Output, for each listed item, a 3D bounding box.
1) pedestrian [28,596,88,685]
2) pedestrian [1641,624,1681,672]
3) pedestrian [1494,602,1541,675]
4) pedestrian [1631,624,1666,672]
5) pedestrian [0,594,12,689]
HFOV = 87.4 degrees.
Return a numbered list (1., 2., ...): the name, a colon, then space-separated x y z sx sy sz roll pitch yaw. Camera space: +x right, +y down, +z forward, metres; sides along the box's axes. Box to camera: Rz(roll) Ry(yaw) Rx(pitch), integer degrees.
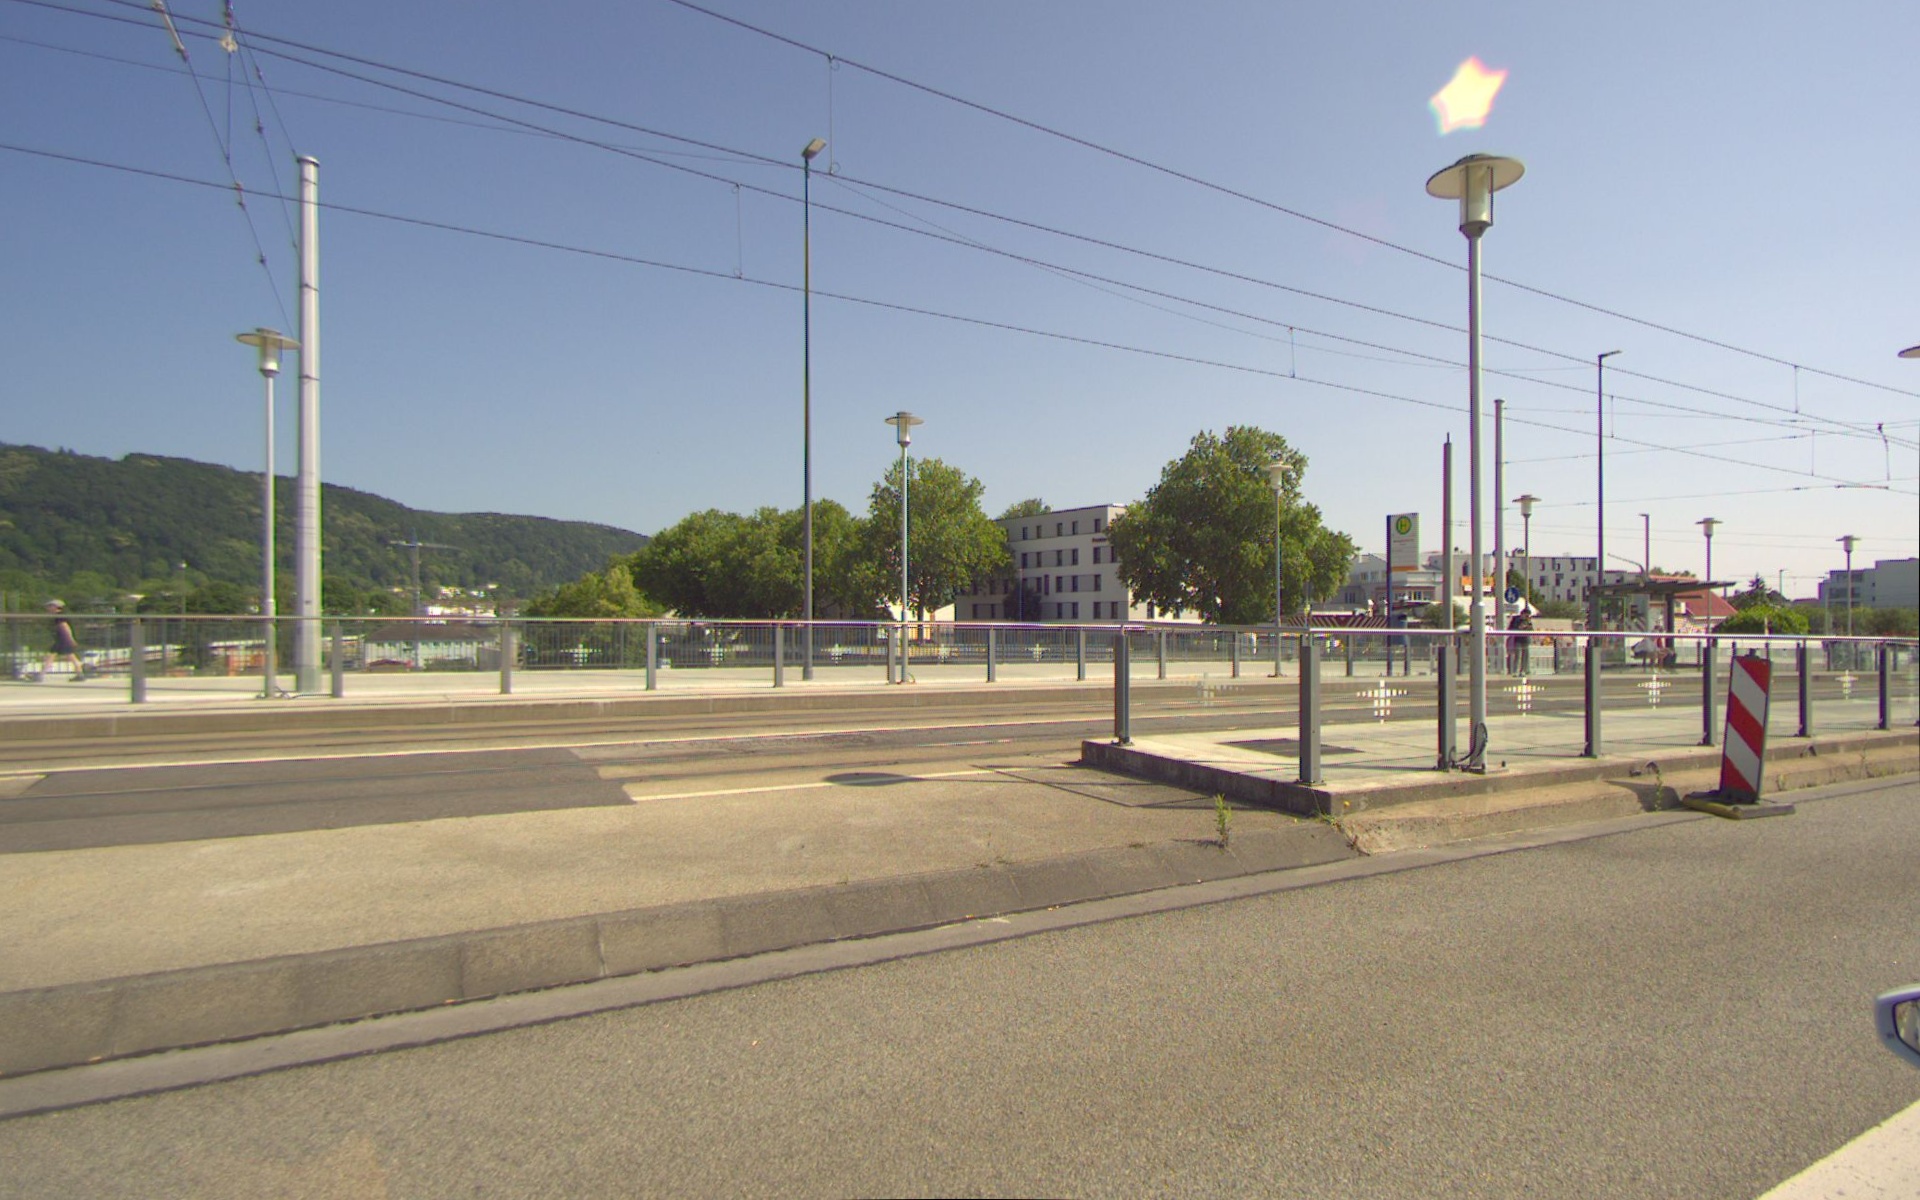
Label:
1. pedestrian: -17.670 0.790 19.682 0.763 1.709 0.501 0 -1 -29
2. pedestrian: 19.351 1.308 27.739 0.688 1.291 0.646 1 -1 -26
3. pedestrian: 13.058 0.891 23.526 0.727 1.676 0.660 0 -1 -18
4. pedestrian: 18.835 1.301 27.481 0.447 1.291 0.646 1 -1 -26
5. pedestrian: -17.741 0.745 18.142 0.723 1.709 0.749 0 -1 -29
